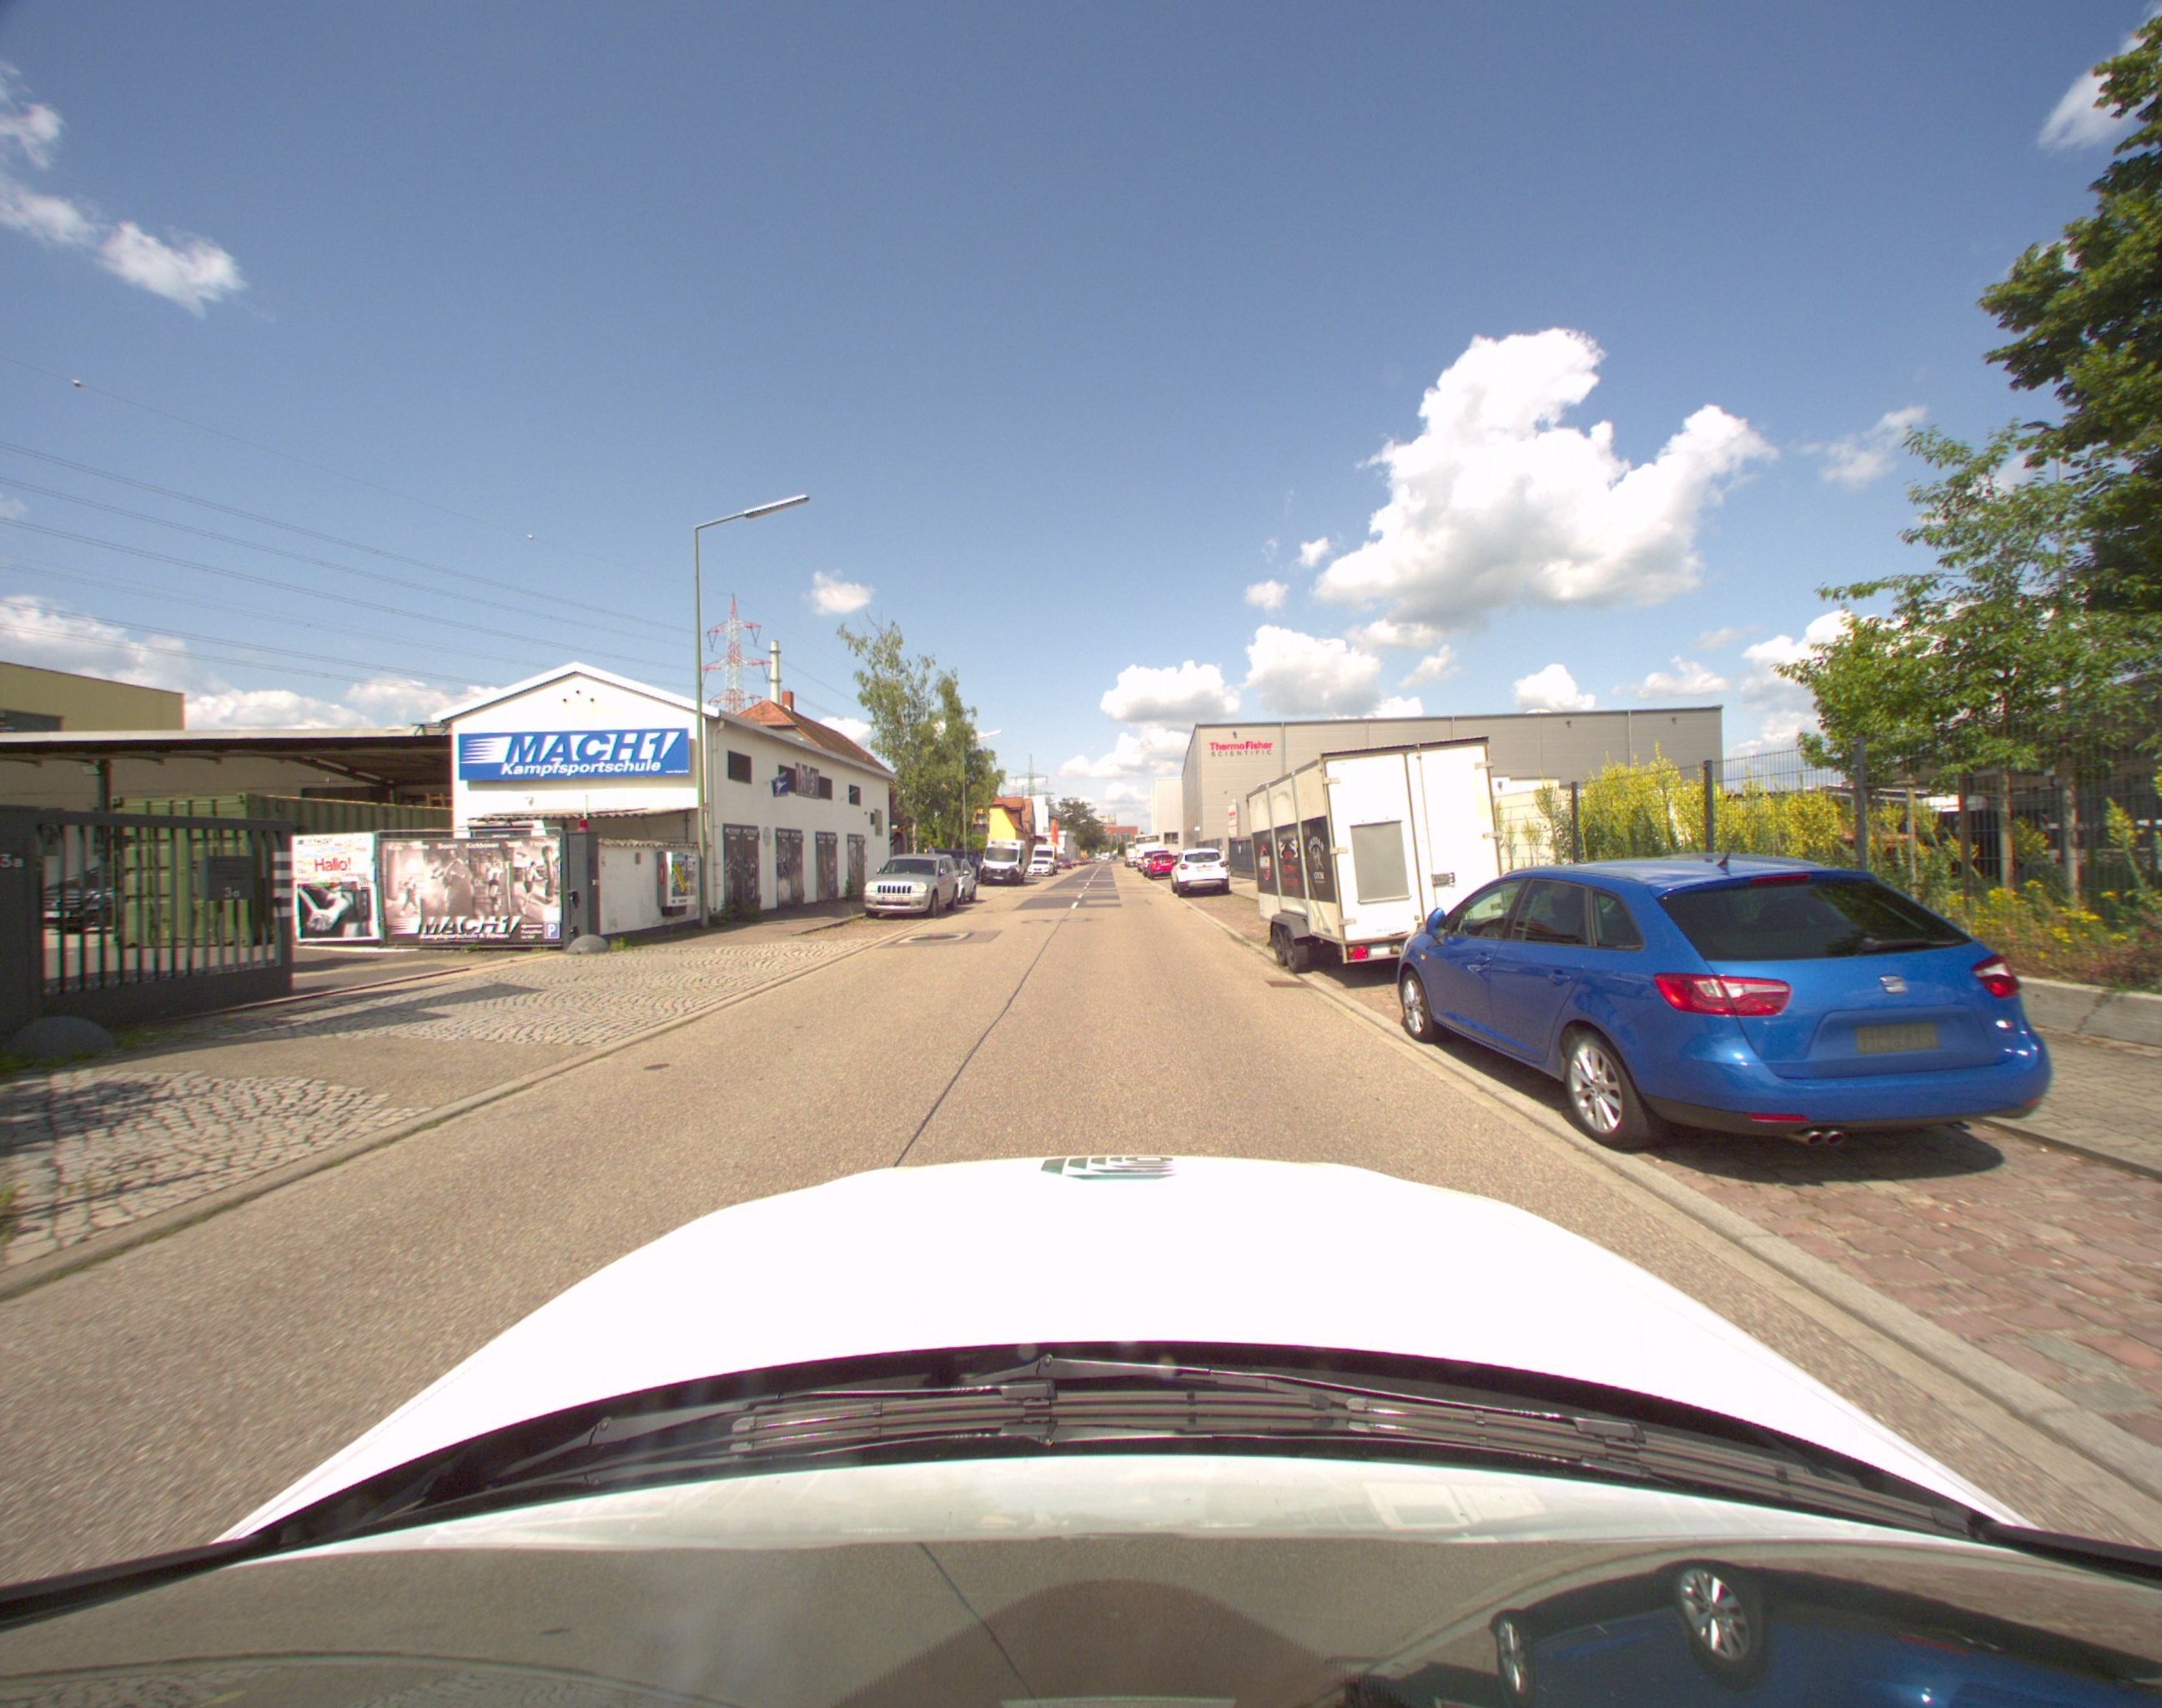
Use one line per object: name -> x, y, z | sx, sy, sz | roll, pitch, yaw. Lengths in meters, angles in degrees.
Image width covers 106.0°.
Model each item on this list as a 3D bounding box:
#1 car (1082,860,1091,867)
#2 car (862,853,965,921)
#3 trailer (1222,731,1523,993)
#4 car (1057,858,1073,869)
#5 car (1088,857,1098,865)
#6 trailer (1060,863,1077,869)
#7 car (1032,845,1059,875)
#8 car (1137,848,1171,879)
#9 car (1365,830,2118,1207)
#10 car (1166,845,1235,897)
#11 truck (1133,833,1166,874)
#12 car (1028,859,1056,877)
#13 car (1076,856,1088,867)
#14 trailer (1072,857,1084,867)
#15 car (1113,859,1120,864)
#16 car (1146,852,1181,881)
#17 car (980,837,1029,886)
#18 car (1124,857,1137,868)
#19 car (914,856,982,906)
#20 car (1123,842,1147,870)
car -> 1.174, 2.003, 165.569 | 1.662, 1.447, 3.455 | 1, -1, 2
car -> -4.651, 0.865, 23.365 | 1.784, 1.719, 4.753 | 1, 0, 2
trailer -> 3.746, 0.129, 12.103 | 2.196, 2.737, 6.223 | -4, -1, 1
car -> -1.990, 1.224, 104.926 | 1.755, 1.447, 4.743 | 1, -1, 2
car -> 2.717, 1.601, 183.507 | 1.913, 1.794, 4.005 | 0, -1, 4
trailer -> -1.869, 1.826, 123.509 | 2.353, 0.893, 5.571 | 1, -1, 2
car -> -3.133, 0.533, 73.097 | 2.019, 2.561, 6.840 | 0, -1, 1
car -> 5.063, 0.630, 57.139 | 2.045, 1.903, 5.151 | -5, -1, 3
car -> 3.455, 0.712, 5.428 | 1.684, 1.461, 4.071 | -4, -1, 1
car -> 4.382, 0.587, 30.592 | 1.928, 1.693, 4.681 | -4, 0, 2
truck -> 6.219, -0.008, 74.642 | 2.449, 3.293, 6.821 | -6, -1, 2
car -> -3.143, 1.129, 65.879 | 1.788, 1.397, 4.505 | 0, -1, 3
car -> 0.211, 1.477, 160.087 | 1.984, 2.014, 4.005 | 0, -1, 4
trailer -> -0.506, 1.420, 144.618 | 1.986, 1.557, 4.255 | -1, -1, 2
car -> 9.800, 2.051, 226.467 | 1.910, 1.285, 3.618 | -2, -1, 4
car -> 5.016, 0.764, 50.152 | 1.698, 1.624, 4.093 | -4, -1, 1
car -> -4.236, 0.432, 46.147 | 2.023, 2.558, 6.656 | 1, -1, 0
car -> 7.190, 1.242, 118.257 | 1.761, 1.612, 3.876 | -1, -1, 3
car -> -4.573, 0.897, 28.384 | 1.602, 1.574, 3.012 | 2, 0, 4
car -> 6.912, 0.277, 105.560 | 2.381, 3.362, 6.642 | -5, -1, -1
